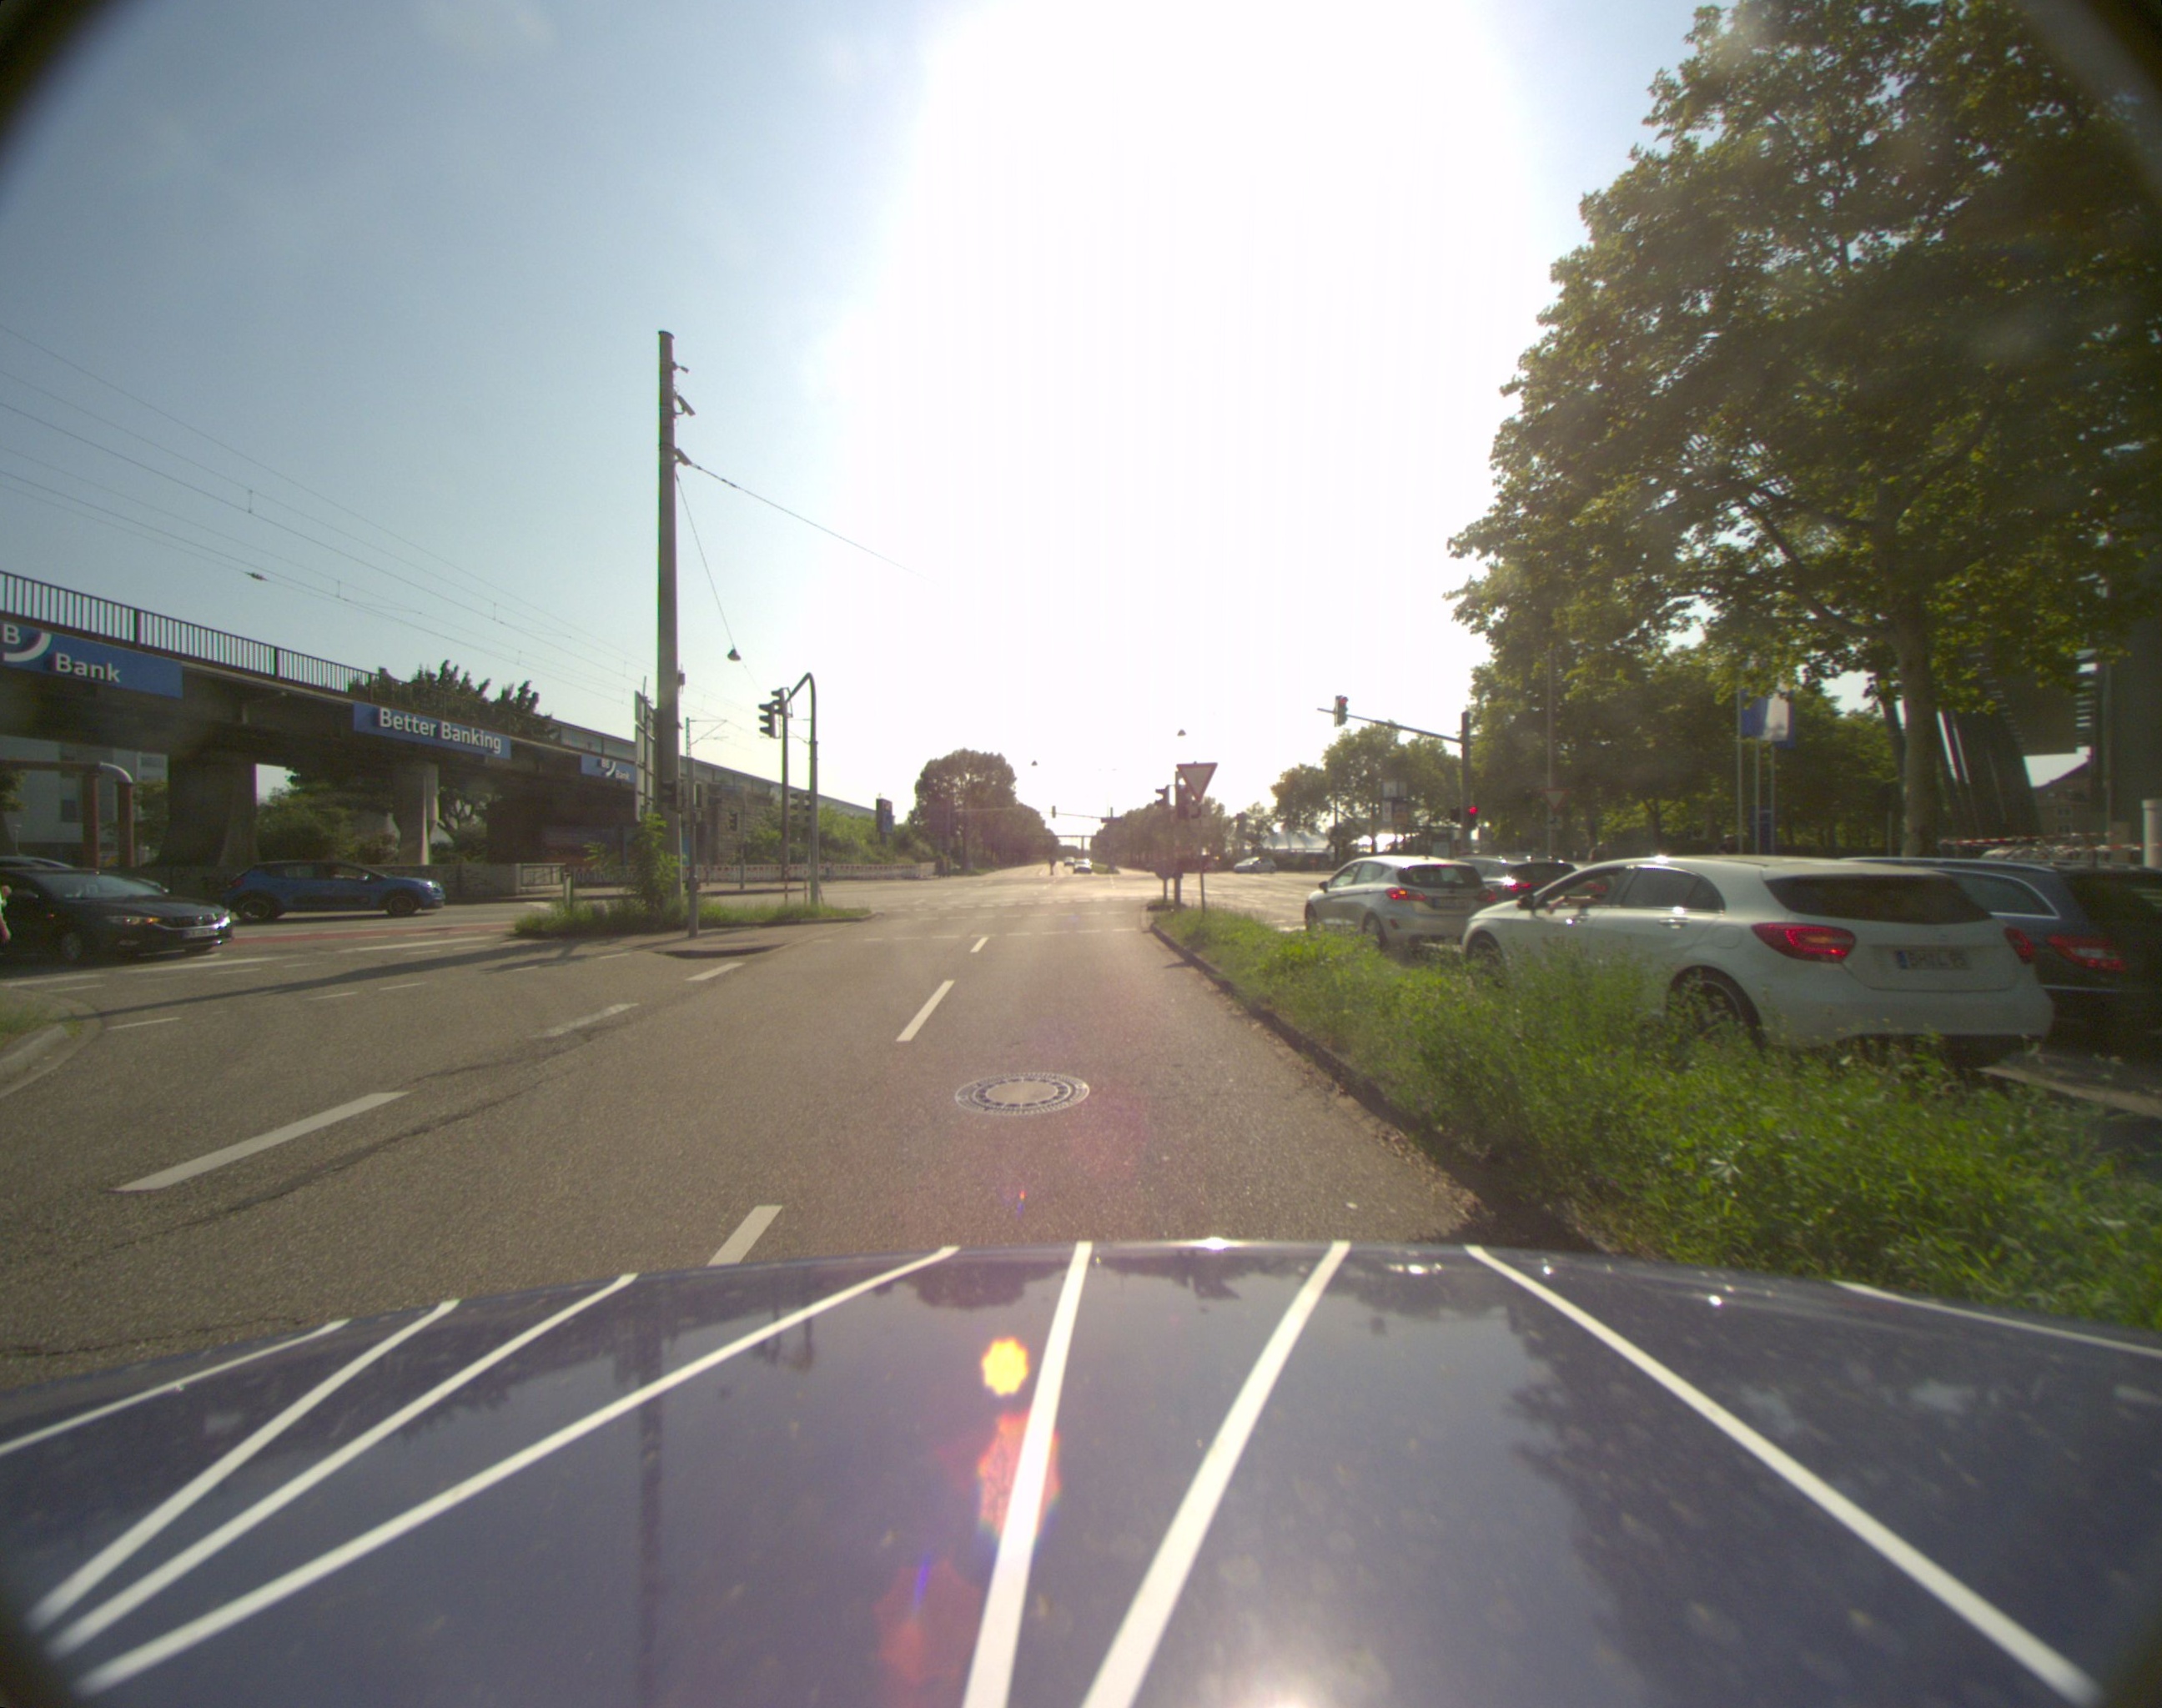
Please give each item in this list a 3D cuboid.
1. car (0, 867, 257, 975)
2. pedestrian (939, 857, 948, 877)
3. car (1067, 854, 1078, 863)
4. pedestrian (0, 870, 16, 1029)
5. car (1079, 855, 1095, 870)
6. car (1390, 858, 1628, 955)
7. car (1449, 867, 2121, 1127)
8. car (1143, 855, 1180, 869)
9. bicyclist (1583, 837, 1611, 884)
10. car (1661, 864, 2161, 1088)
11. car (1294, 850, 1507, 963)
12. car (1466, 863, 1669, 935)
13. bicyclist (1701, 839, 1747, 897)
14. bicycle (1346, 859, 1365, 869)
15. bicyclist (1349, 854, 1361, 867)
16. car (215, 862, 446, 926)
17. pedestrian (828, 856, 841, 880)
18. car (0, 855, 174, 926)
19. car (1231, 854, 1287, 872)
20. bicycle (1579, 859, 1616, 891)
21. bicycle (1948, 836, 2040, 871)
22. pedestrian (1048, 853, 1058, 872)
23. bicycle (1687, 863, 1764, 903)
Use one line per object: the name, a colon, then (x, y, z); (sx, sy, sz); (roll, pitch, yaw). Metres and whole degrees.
car: (-16.356, 1.016, 12.113); (4.192, 1.524, 1.870); (-1, 1, -4)
pedestrian: (-10.897, 1.030, 60.241); (0.650, 1.565, 0.759); (1, 1, -2)
car: (-1.435, 0.806, 134.151); (1.865, 1.584, 4.000); (0, 0, 0)
pedestrian: (-11.817, 1.024, 8.028); (0.569, 1.672, 0.493); (1, 3, 44)
car: (0.576, 0.865, 75.989); (1.545, 1.433, 3.395); (0, 0, 1)
car: (7.637, 0.844, 14.139); (1.860, 1.495, 4.263); (0, 0, -3)
car: (4.983, 0.850, 6.335); (1.714, 1.394, 4.082); (1, 0, -2)
car: (9.324, 0.939, 88.209); (2.004, 1.543, 3.989); (-1, 0, -40)
bicyclist: (18.697, 0.245, 27.557); (0.633, 1.678, 0.810); (0, 1, 16)
car: (7.963, 0.880, 7.209); (1.711, 1.434, 3.998); (1, 1, -2)
car: (4.815, 0.690, 12.105); (1.648, 1.487, 3.999); (0, 0, -1)
car: (10.630, 0.912, 17.024); (1.714, 1.345, 4.158); (1, 0, -3)
bicyclist: (18.955, 0.420, 22.420); (0.668, 1.678, 0.809); (0, 1, 1)
bicycle: (24.492, 0.871, 67.877); (0.531, 0.860, 1.733); (-1, 1, -23)
bicyclist: (24.494, 0.584, 67.866); (0.521, 1.134, 0.907); (-1, 1, -23)
car: (-18.916, 0.940, 19.431); (4.008, 1.444, 1.613); (0, 0, -37)
pedestrian: (-16.329, 0.937, 50.282); (0.636, 1.565, 0.489); (-2, 2, -39)
car: (-25.325, 0.843, 18.198); (4.224, 1.608, 2.005); (-1, 1, -35)
car: (16.112, 0.764, 68.605); (5.441, 1.438, 1.855); (-2, 1, -37)
bicycle: (18.696, 0.750, 27.539); (0.643, 1.088, 1.652); (0, 0, 17)
bicycle: (29.695, -0.008, 24.759); (1.862, 1.087, 0.528); (0, 1, 41)
pedestrian: (-2.502, 0.755, 67.843); (0.645, 1.715, 0.588); (1, 1, 24)
bicycle: (18.948, 0.838, 22.400); (0.686, 1.084, 1.896); (0, 0, 1)
